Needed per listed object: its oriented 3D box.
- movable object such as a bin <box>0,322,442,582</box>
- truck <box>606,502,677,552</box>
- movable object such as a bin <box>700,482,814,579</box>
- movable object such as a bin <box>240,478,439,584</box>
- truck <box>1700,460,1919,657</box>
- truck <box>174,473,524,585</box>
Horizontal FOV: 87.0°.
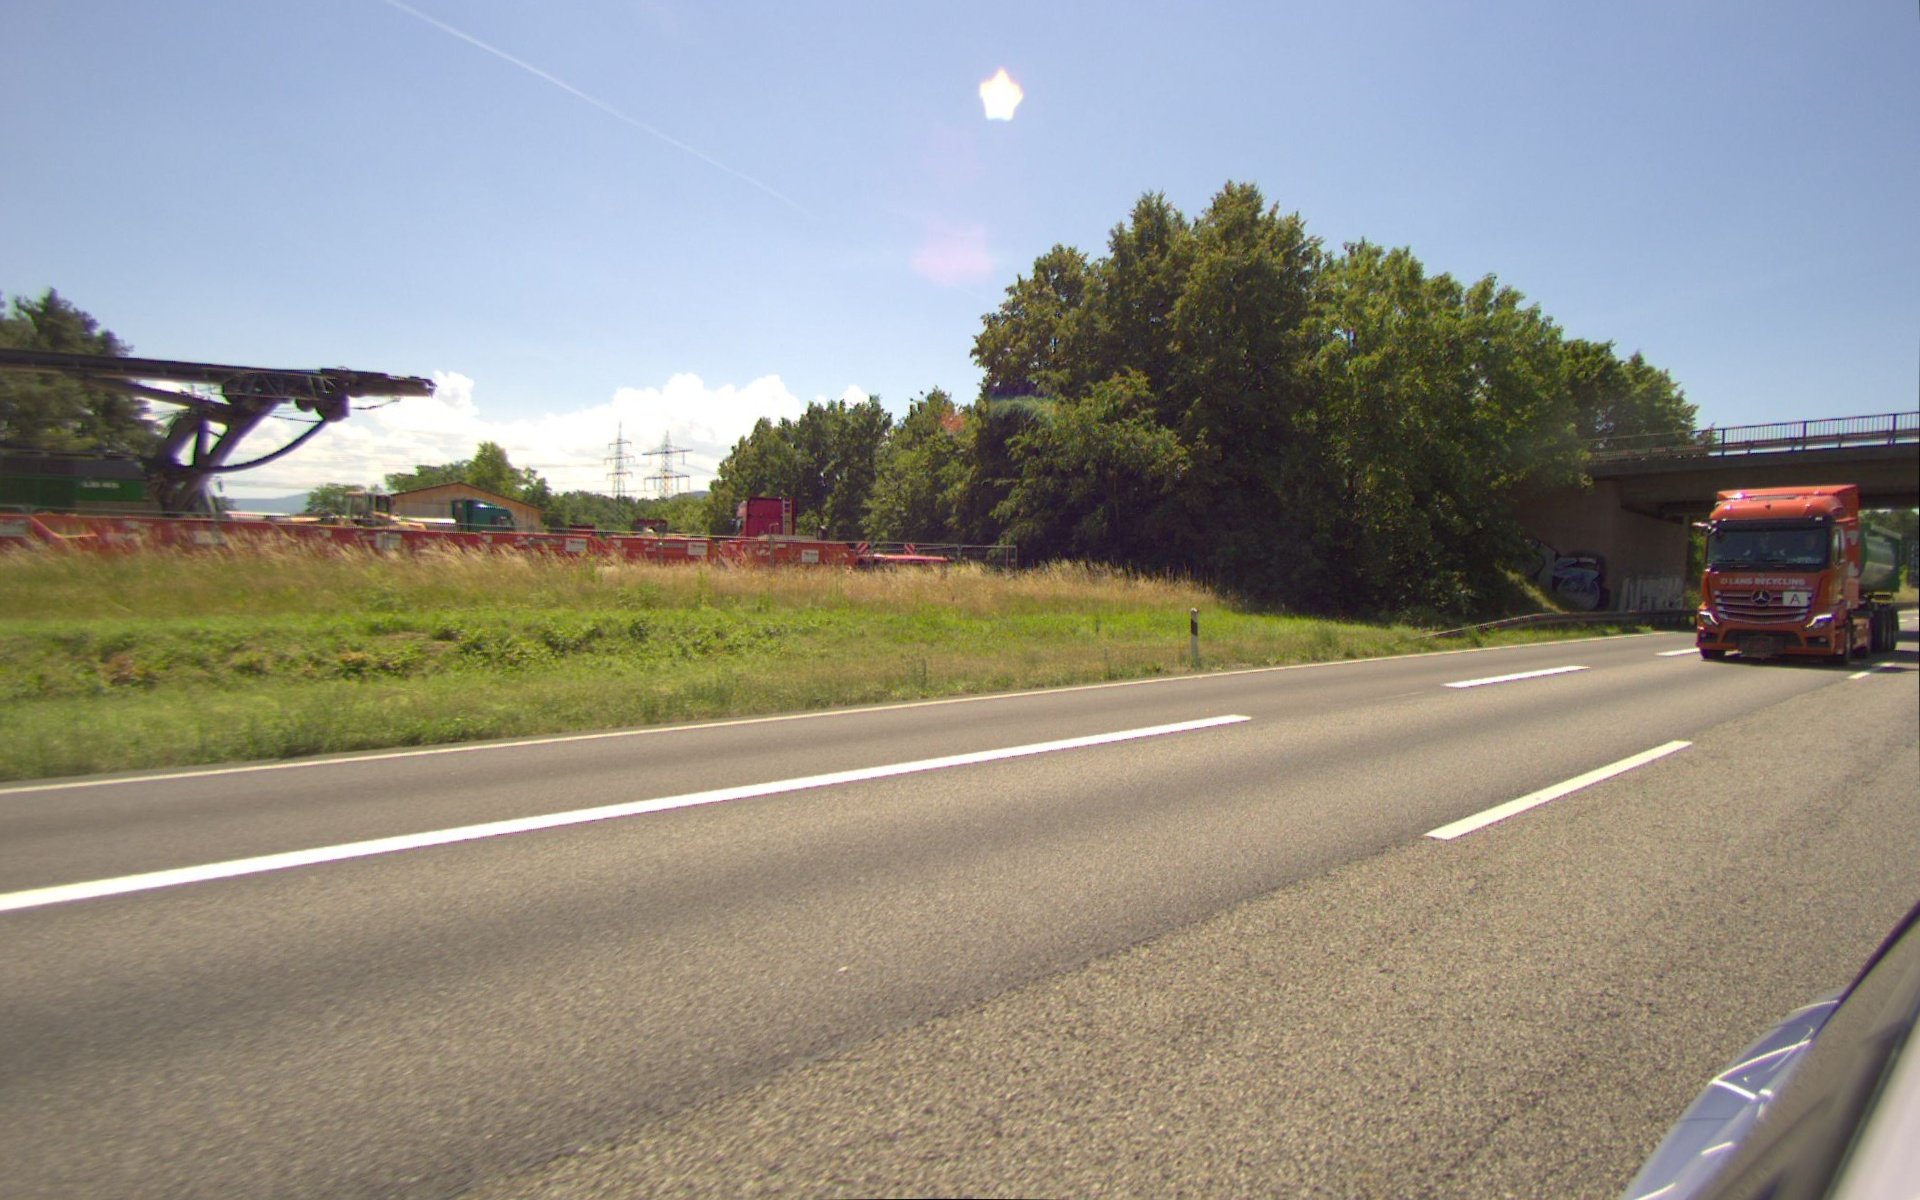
[{"bbox_3d":[-29.782,-4.706,33.663,22.330,8.027,3.145,0,0,-28],"label":"movable object such as a bin"},{"bbox_3d":[-24.052,-5.389,77.160,3.578,2.983,13.525,0,0,-11],"label":"truck"},{"bbox_3d":[-10.094,-3.277,49.925,3.738,4.365,5.935,0,0,-31],"label":"movable object such as a bin"},{"bbox_3d":[-26.855,-2.865,43.954,6.548,4.262,3.935,0,0,14],"label":"movable object such as a bin"},{"bbox_3d":[21.414,-0.838,24.913,12.262,3.846,2.685,0,0,-42],"label":"truck"},{"bbox_3d":[-32.459,-3.544,54.888,15.878,5.292,3.141,0,0,-35],"label":"truck"}]
